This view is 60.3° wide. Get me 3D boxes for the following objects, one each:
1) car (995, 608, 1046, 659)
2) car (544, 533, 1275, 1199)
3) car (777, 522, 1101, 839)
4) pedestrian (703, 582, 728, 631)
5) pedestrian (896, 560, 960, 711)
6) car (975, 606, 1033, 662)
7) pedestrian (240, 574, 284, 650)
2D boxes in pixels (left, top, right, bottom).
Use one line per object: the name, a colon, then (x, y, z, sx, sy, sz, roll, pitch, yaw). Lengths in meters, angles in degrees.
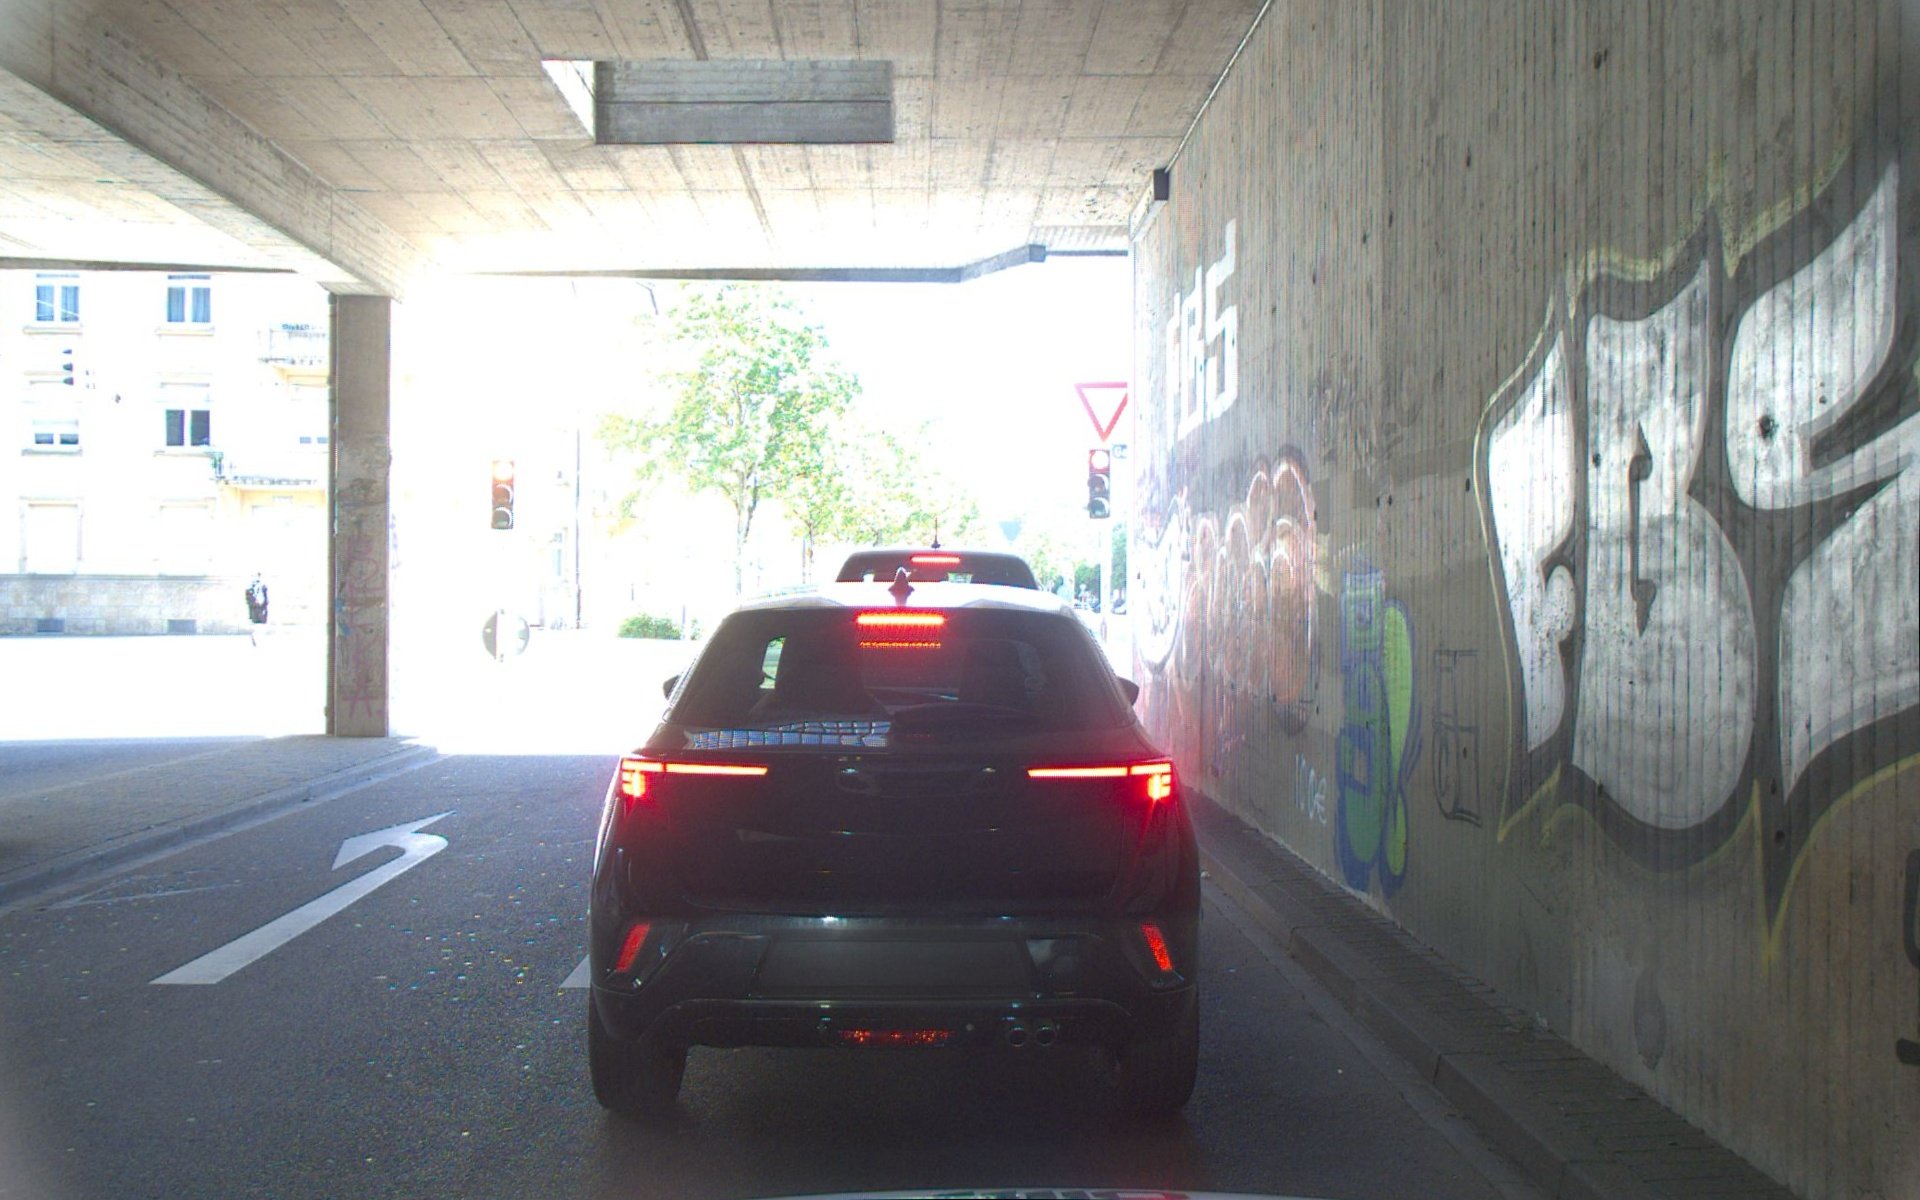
car: (2.559, 1.367, 69.273, 1.951, 2.004, 4.166, 1, 0, 4)
car: (-0.147, 0.608, 5.972, 1.729, 1.598, 4.000, 1, 1, -1)
car: (-0.152, 0.474, 12.000, 1.953, 1.904, 3.999, 0, 0, -1)
pedestrian: (-10.759, 0.299, 72.678, 0.873, 2.124, 0.808, 1, -1, 7)
pedestrian: (-0.383, 0.416, 19.830, 0.716, 1.764, 0.874, 1, -1, -1)
car: (1.705, 1.258, 62.347, 1.951, 2.004, 4.166, 1, 0, 4)
pedestrian: (-15.605, 0.260, 36.989, 0.658, 1.666, 0.740, 1, -1, -1)
